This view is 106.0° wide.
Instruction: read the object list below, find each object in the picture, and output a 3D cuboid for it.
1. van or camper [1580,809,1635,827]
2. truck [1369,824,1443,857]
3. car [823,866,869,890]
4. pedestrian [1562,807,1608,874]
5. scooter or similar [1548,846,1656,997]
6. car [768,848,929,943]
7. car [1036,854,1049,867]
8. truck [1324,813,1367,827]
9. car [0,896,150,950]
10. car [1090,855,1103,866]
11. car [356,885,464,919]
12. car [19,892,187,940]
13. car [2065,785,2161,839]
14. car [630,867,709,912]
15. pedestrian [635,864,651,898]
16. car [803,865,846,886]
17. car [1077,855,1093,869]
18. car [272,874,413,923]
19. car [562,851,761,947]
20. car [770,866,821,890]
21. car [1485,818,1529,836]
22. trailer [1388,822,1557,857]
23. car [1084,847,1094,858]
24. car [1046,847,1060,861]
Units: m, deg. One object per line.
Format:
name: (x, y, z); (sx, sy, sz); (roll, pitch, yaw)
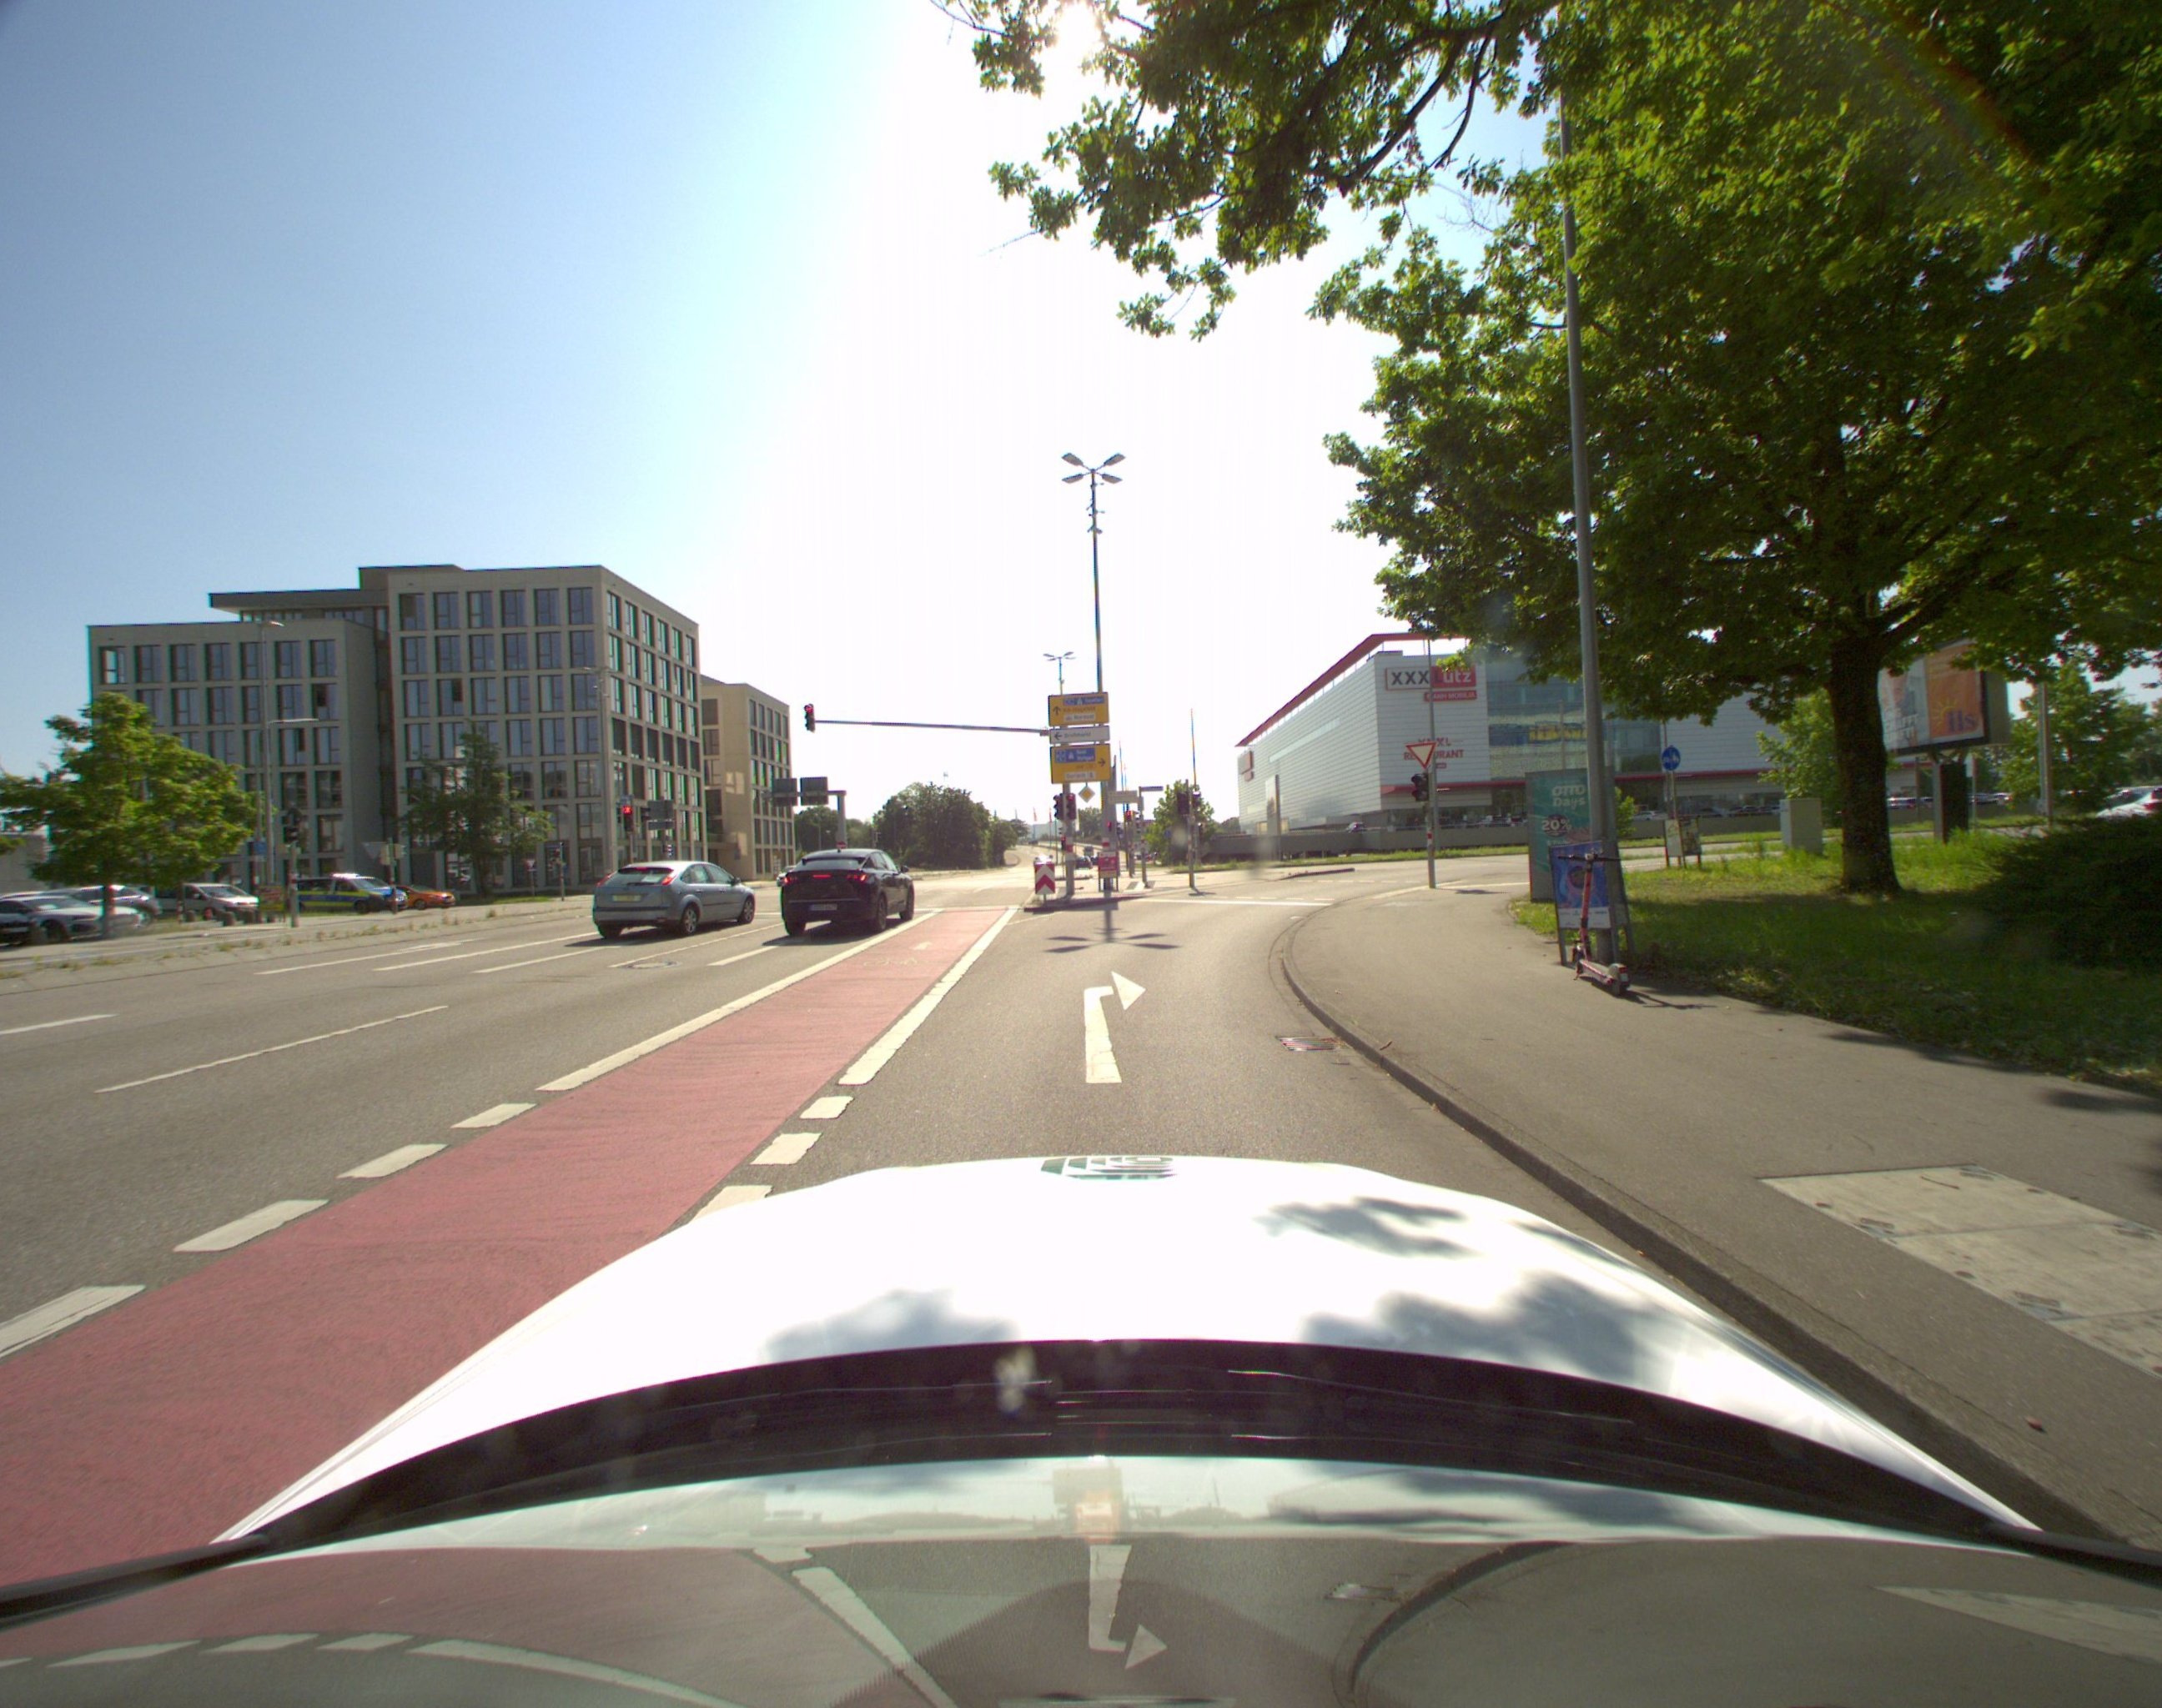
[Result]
van or camper: (59.644, -4.060, 92.304); (4.969, 2.013, 1.999); (-1, 1, -2)
truck: (24.532, -1.035, 61.632); (4.861, 2.423, 2.001); (-1, 1, 2)
car: (-16.933, 1.692, 58.768); (1.807, 1.464, 4.005); (-3, 0, 4)
pedestrian: (13.853, -0.370, 22.391); (0.627, 1.770, 0.802); (-3, 0, -11)
scooter or similar: (4.681, 0.558, 7.387); (0.349, 1.233, 1.316); (-3, 0, 13)
car: (-4.680, 0.747, 17.145); (1.799, 1.640, 4.463); (-3, 0, 3)
car: (-5.527, 0.970, 117.919); (1.755, 1.794, 3.345); (-3, 0, -2)
truck: (39.971, -5.179, 123.225); (5.887, 2.013, 2.001); (-1, 1, 2)
car: (-30.333, 2.060, 24.213); (3.399, 1.343, 1.646); (-3, 0, 2)
car: (2.116, 0.865, 109.357); (1.682, 1.359, 4.002); (-1, 1, 2)
car: (-35.162, 2.516, 42.746); (3.973, 1.464, 2.000); (-3, 0, 1)
car: (-34.601, 2.171, 28.963); (1.697, 1.343, 3.426); (-3, 0, 3)
car: (31.944, -1.281, 24.734); (1.769, 1.489, 3.952); (-3, 0, 38)
car: (-14.069, 1.180, 28.002); (1.211, 1.331, 2.801); (-1, 1, 1)
pedestrian: (-26.712, 1.647, 49.668); (0.759, 2.013, 0.926); (-1, 1, -25)
car: (-20.332, 1.712, 64.783); (1.807, 1.464, 4.005); (-3, 0, 4)
car: (0.425, 0.894, 90.484); (1.682, 1.359, 4.002); (-1, 1, 2)
car: (-35.666, 2.121, 39.407); (4.897, 2.050, 2.000); (-3, 0, 1)
car: (-8.606, 0.831, 17.180); (1.987, 1.684, 4.000); (-3, 0, 1)
car: (-20.104, 1.657, 57.553); (1.883, 1.464, 4.005); (-3, 0, 4)
car: (48.613, -3.045, 93.018); (3.976, 2.013, 1.999); (-1, 1, -2)
trailer: (29.466, -1.093, 61.538); (11.827, 2.469, 2.001); (-1, 1, 1)
car: (1.653, -0.319, 167.715); (1.986, 2.321, 4.002); (-1, 1, 2)
car: (-4.379, 0.008, 126.913); (1.987, 2.013, 3.981); (-1, 1, 0)
